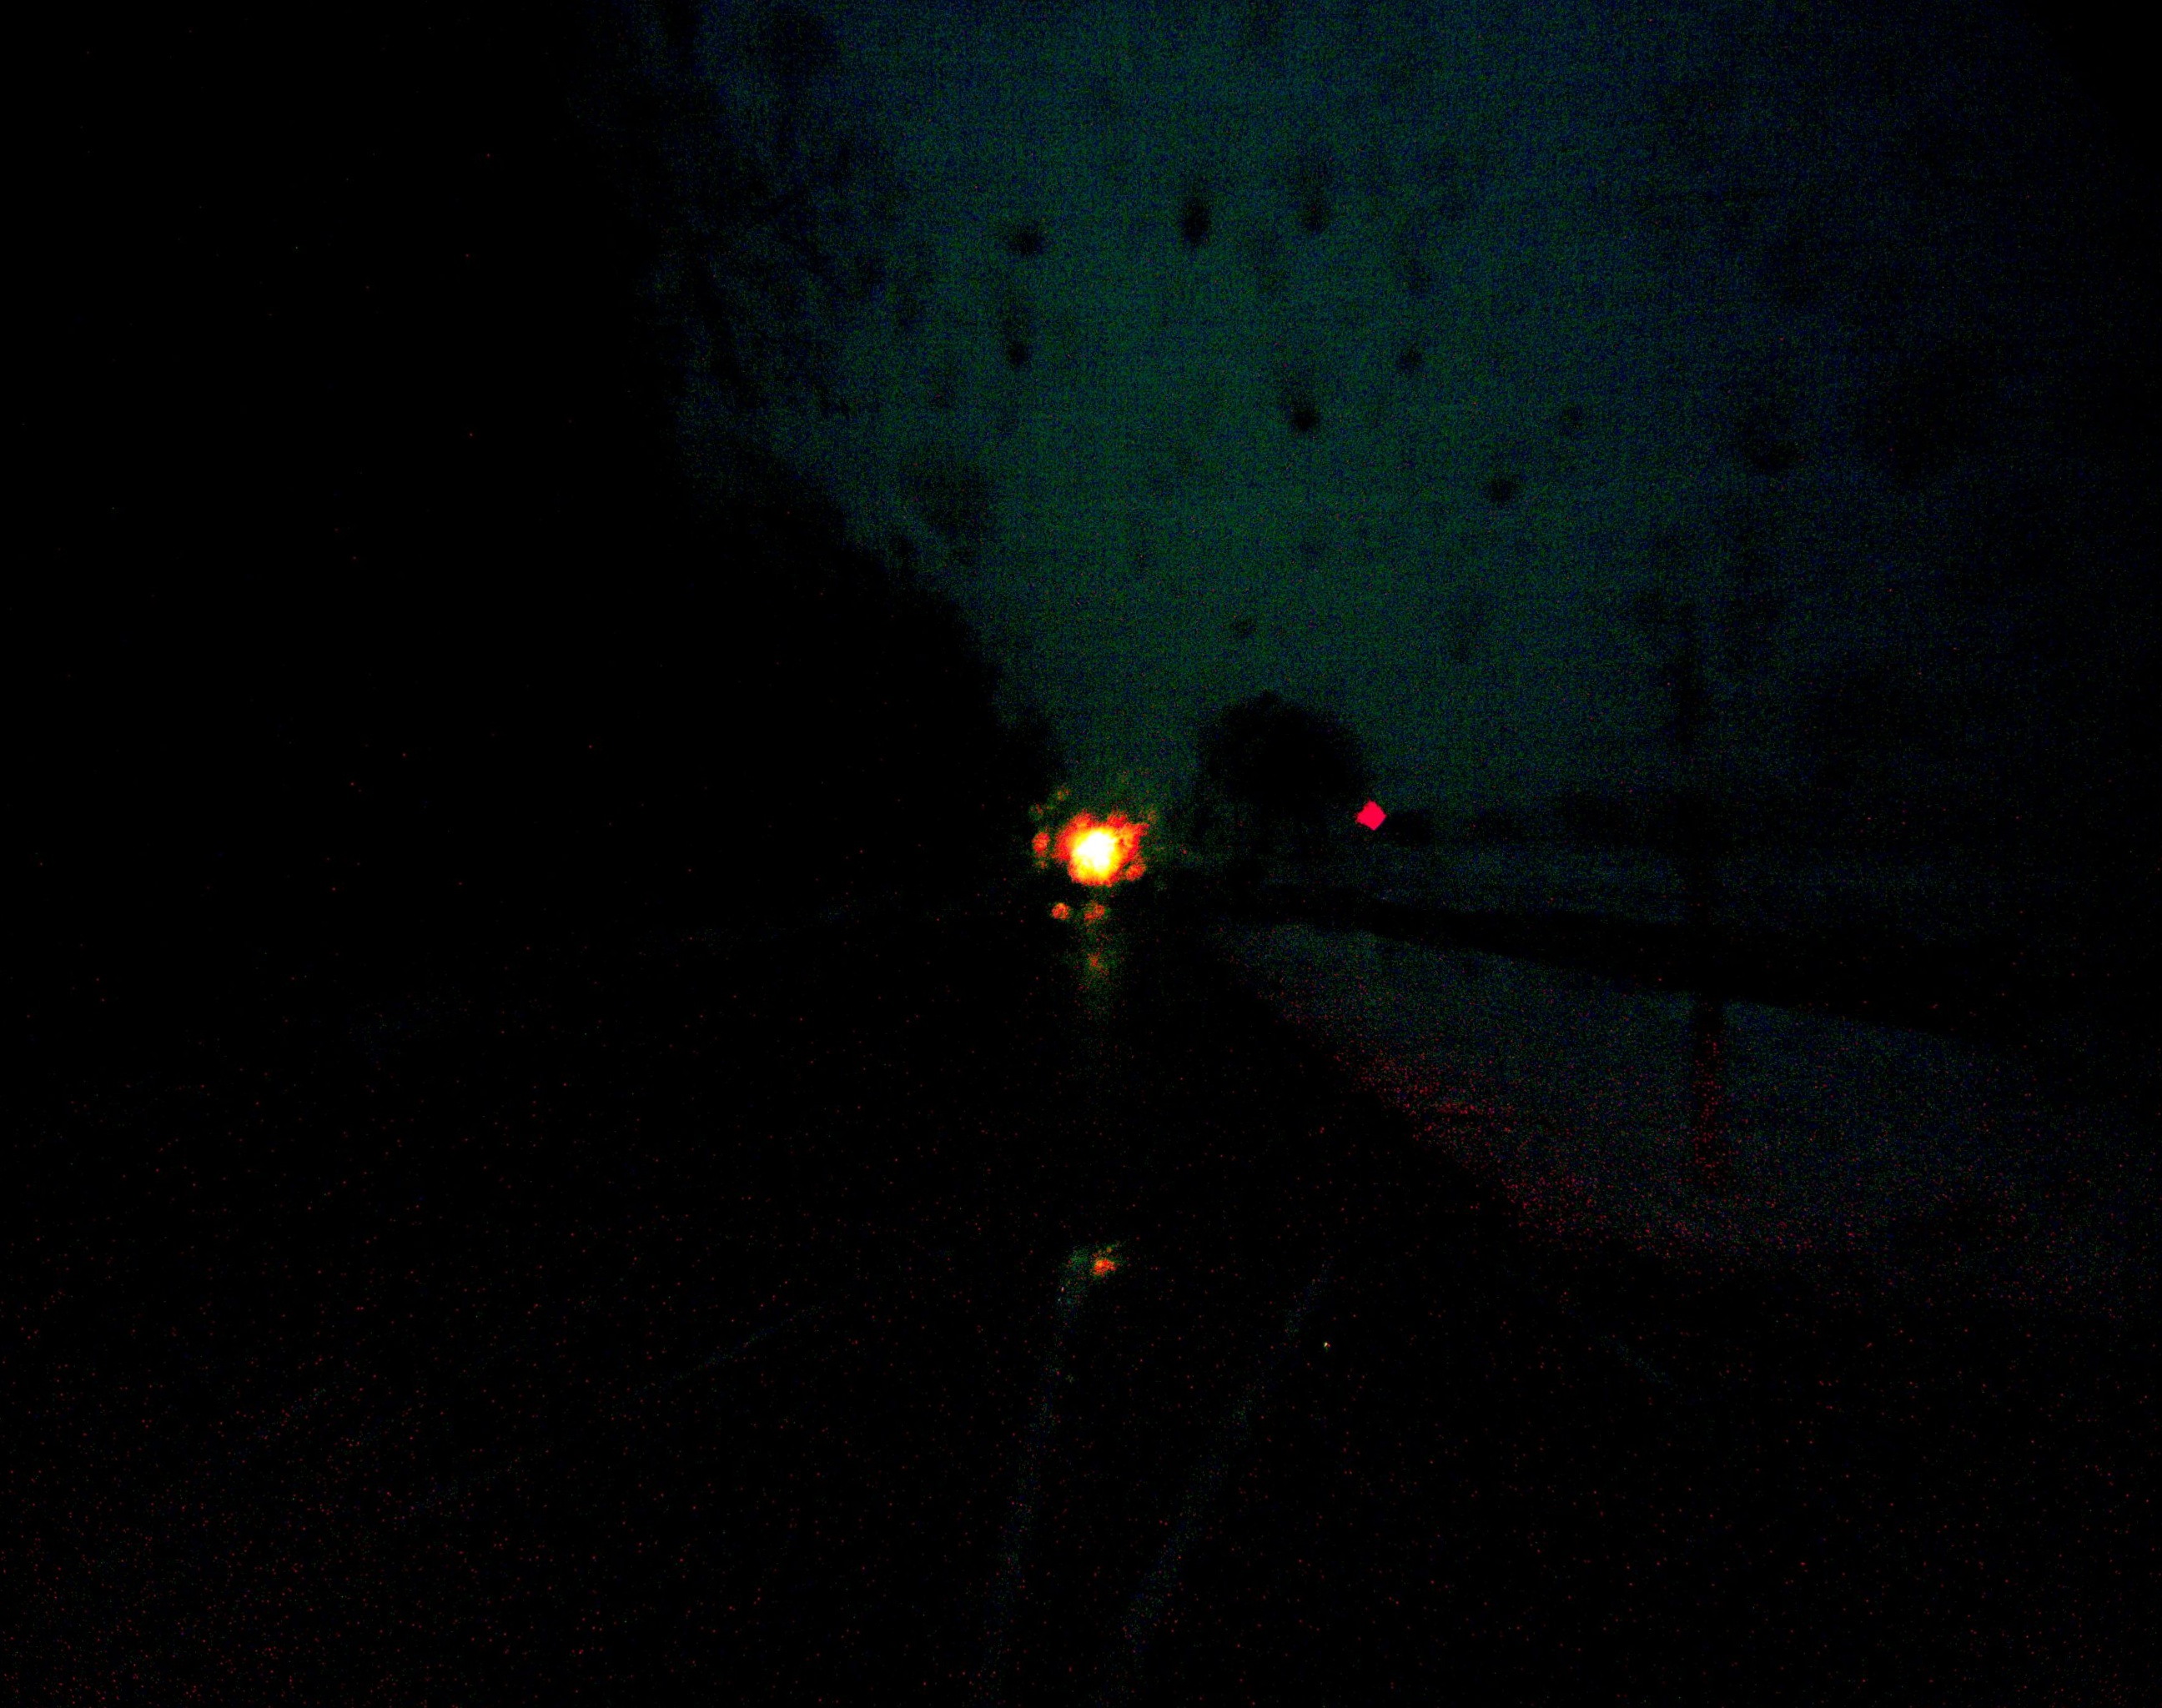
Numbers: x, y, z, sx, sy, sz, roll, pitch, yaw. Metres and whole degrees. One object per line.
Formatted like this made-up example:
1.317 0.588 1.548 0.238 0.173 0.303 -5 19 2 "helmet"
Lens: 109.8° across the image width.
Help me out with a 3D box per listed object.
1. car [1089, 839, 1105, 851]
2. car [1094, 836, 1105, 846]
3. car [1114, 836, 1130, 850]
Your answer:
2.011 -1.121 97.833 1.725 1.426 3.675 -2 0 -2 "car"
3.351 -2.343 137.257 1.998 1.797 3.999 -2 1 1 "car"
5.717 -1.525 106.247 1.998 1.797 3.999 -2 1 1 "car"
